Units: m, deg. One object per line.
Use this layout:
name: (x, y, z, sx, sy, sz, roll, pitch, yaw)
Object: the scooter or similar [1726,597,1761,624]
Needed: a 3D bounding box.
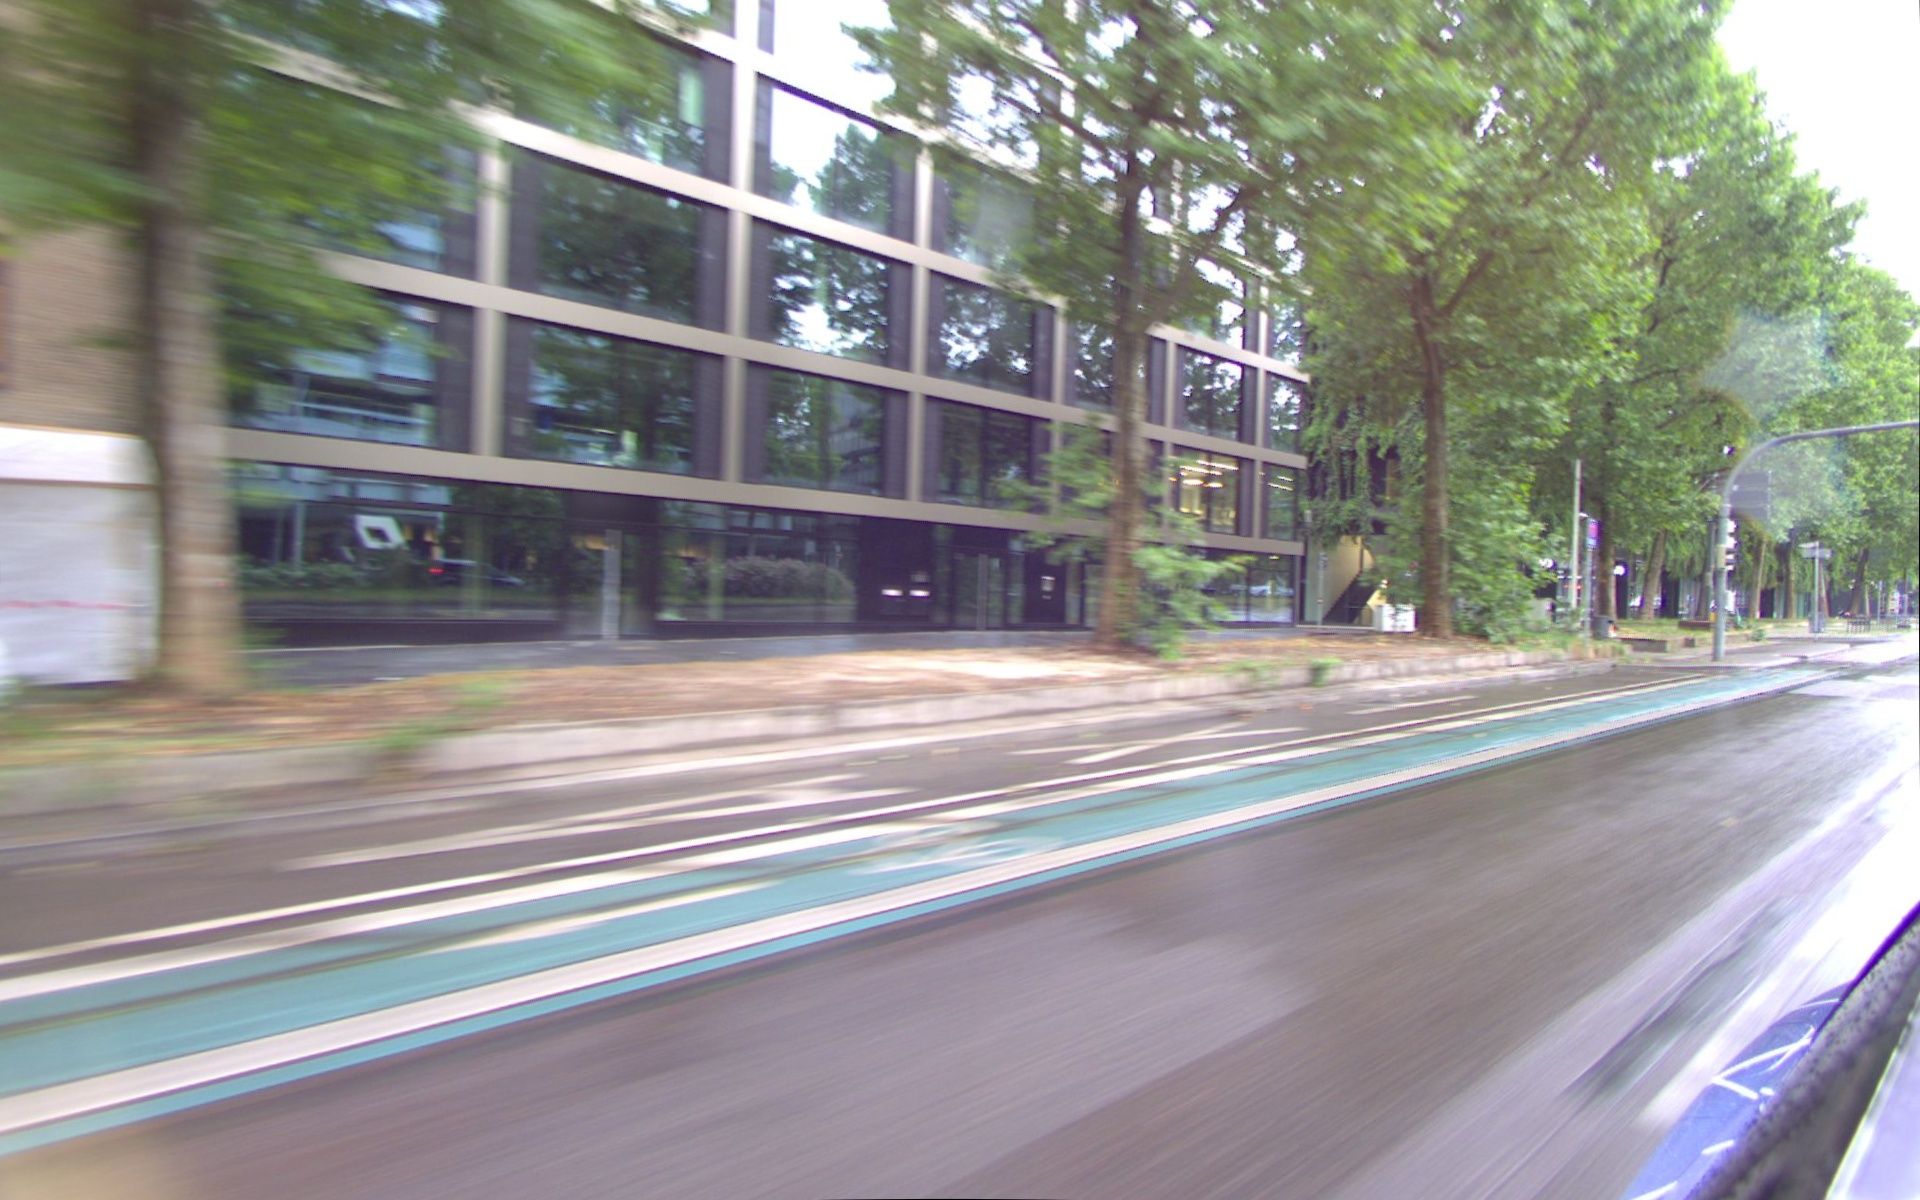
scooter or similar: (36.890, 0.493, 47.661, 1.165, 1.298, 0.535, 0, 0, 9)
